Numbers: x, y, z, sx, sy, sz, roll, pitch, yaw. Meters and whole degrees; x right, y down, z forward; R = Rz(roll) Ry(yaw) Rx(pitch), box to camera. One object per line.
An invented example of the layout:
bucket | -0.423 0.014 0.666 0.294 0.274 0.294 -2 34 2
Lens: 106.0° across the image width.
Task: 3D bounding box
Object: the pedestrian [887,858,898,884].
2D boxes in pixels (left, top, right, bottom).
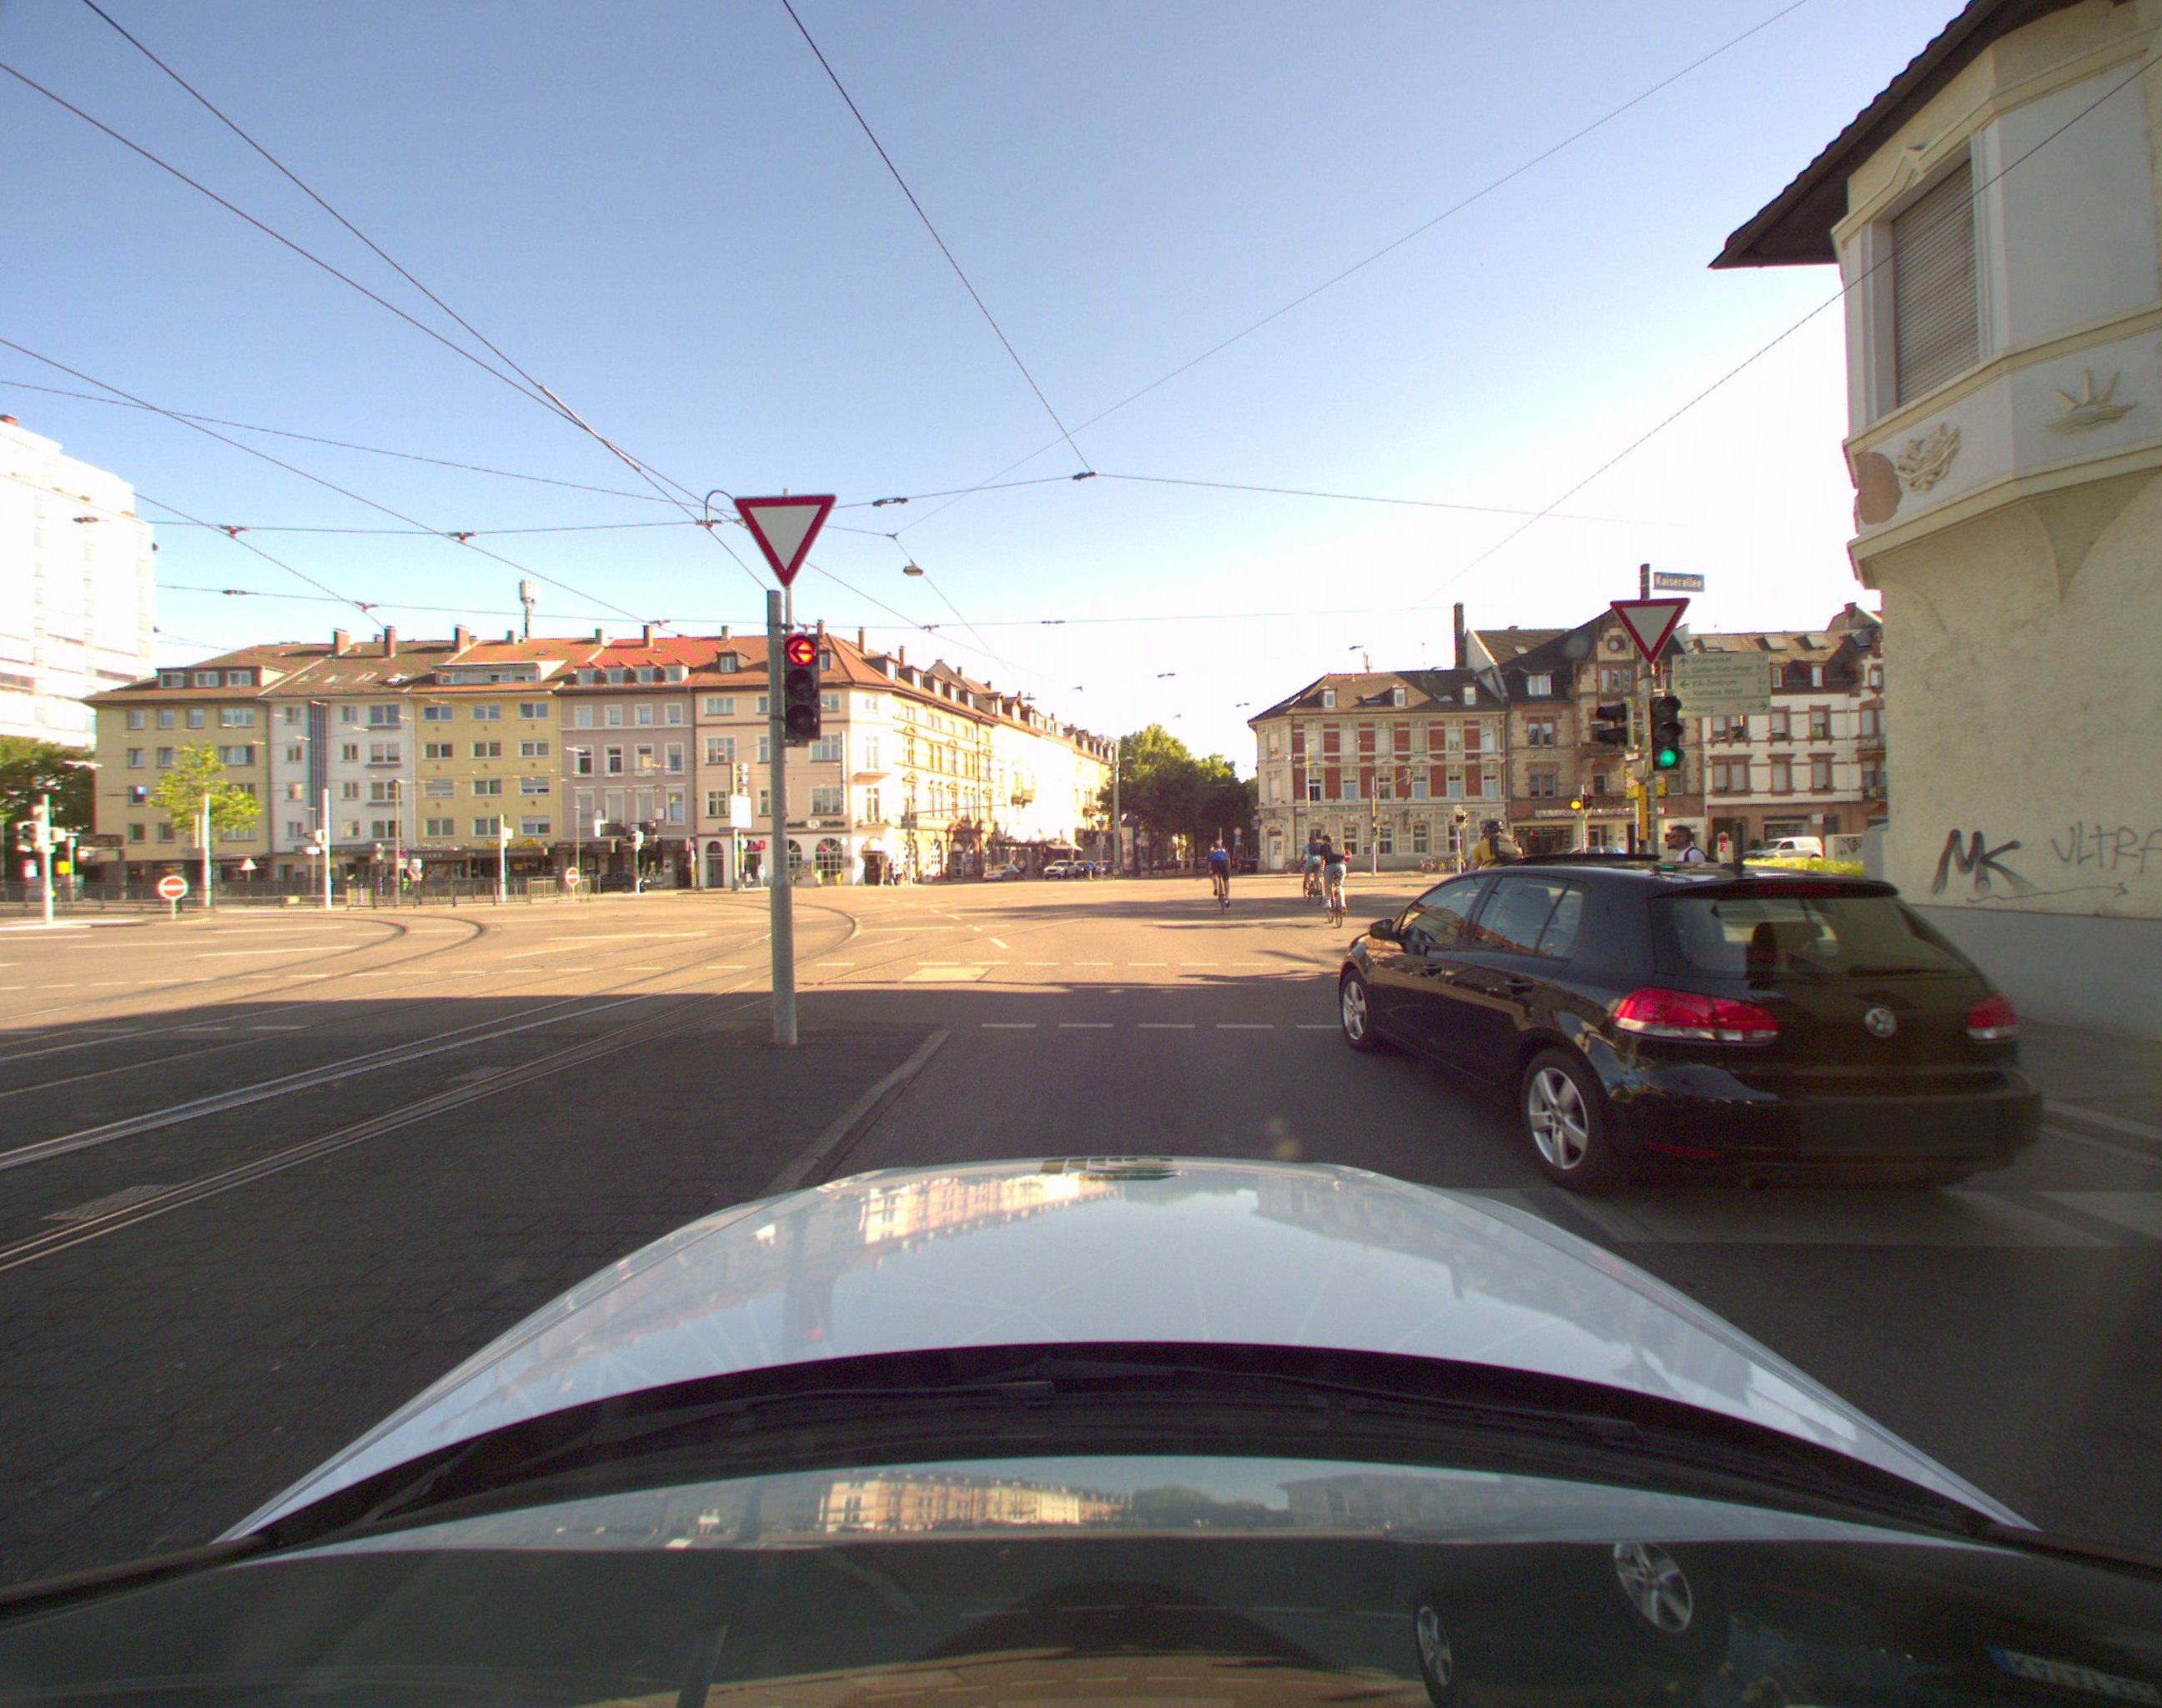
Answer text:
pedestrian | -13.379 1.201 57.856 0.631 1.881 0.465 0 -1 -2

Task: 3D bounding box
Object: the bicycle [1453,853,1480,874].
bicycle | 24.775 0.620 52.392 0.626 1.287 2.663 0 -1 3

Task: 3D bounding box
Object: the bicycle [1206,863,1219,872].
bicycle | 15.993 1.654 98.868 0.630 1.085 1.687 0 -1 -28

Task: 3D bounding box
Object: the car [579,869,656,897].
car | -30.589 1.920 53.819 3.962 1.670 2.006 -2 0 10

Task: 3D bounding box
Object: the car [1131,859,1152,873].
car | 8.396 1.626 112.697 1.977 1.904 4.019 -1 -1 19

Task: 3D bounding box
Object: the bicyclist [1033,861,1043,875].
bicyclist | -3.747 1.184 70.630 0.626 1.185 0.689 -1 -1 23

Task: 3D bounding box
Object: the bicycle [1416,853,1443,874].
bicycle | 22.445 0.618 52.474 0.689 1.287 2.663 0 -1 3

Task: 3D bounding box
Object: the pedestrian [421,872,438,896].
pedestrian | -46.013 2.111 57.529 0.631 1.634 0.700 0 -1 -2

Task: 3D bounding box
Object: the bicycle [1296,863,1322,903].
bicycle | 6.185 0.760 22.118 0.644 1.031 1.778 -1 -1 15

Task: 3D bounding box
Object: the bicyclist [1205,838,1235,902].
bicyclist | 3.324 0.373 19.495 0.635 1.494 0.885 0 1 6

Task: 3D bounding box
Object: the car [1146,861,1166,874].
car | 11.318 1.981 122.606 1.977 1.904 4.019 -1 -1 19

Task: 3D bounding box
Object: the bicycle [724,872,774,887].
bicycle | -23.425 1.792 57.468 3.118 0.980 1.002 0 -1 1

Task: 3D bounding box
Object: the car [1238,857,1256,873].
car | 16.817 1.117 82.367 1.680 1.565 3.855 -1 -1 14

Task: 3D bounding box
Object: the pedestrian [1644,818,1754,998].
pedestrian | 6.410 0.541 8.450 0.589 1.756 0.635 -5 -1 -37

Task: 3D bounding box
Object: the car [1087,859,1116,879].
car | 2.065 1.406 79.923 1.979 1.904 4.015 -1 -1 14

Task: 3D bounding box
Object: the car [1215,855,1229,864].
car | 23.261 0.923 134.286 1.546 1.513 3.673 -1 -1 19

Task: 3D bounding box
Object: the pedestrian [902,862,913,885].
pedestrian | -12.314 1.361 57.710 0.631 1.634 0.700 0 -1 -2

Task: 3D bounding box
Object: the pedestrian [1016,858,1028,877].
pedestrian | -4.760 1.108 65.493 0.814 1.512 0.601 -1 -1 16

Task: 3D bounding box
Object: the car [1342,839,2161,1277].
car | 3.015 0.685 4.884 1.722 1.508 4.053 0 1 2

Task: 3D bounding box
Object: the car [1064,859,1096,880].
car | -0.017 1.373 73.949 1.979 1.904 4.015 -1 -1 14

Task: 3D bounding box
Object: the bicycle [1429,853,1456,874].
bicycle | 23.261 0.624 52.427 0.689 1.287 2.663 0 -1 3

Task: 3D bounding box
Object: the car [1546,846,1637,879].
car | 28.230 0.462 45.142 3.769 1.778 2.000 0 -1 1

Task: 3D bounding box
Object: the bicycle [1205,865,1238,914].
bicycle | 3.325 0.820 19.417 0.623 1.085 1.705 0 -1 5

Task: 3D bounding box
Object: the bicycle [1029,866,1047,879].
bicycle | -3.714 1.609 70.747 0.644 1.123 2.265 -1 -1 23

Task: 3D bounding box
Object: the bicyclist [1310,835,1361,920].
bicyclist | 4.964 0.449 15.917 0.801 1.606 0.885 0 -1 7

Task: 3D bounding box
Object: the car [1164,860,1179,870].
car | 14.637 1.755 131.711 1.546 1.513 3.673 -1 -1 19

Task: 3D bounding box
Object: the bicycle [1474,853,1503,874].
bicycle | 26.198 0.619 52.359 0.626 1.287 2.663 0 -1 3

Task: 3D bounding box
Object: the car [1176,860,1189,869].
car | 16.912 1.764 135.628 1.546 1.513 3.673 -1 -1 19

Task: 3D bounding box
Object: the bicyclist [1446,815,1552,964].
bicyclist | 4.884 0.397 9.573 0.802 1.663 0.884 0 -1 2

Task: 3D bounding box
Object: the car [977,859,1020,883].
car | -6.779 1.371 67.486 1.977 1.904 4.019 -1 -1 19

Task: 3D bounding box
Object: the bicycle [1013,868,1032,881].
bicycle | -4.732 1.637 65.561 0.756 1.008 2.406 -1 -1 16

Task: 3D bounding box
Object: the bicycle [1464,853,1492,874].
bicycle | 25.502 0.618 52.388 0.626 1.287 2.663 0 -1 3

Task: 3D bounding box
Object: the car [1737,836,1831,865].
car | 45.311 -0.229 52.574 4.349 1.778 2.000 0 -1 1

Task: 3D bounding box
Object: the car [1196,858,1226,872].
car | 18.337 1.568 114.729 3.955 1.904 2.009 -1 -1 17

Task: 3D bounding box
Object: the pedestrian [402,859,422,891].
pedestrian | -34.255 1.088 41.692 0.523 1.628 0.577 0 -1 0

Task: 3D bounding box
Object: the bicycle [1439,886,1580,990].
bicycle | 4.869 0.910 9.406 0.752 1.031 1.782 0 -1 3

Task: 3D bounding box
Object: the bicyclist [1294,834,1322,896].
bicyclist | 6.142 0.299 22.041 0.684 1.633 0.887 -1 -1 14

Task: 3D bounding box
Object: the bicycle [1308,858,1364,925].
bicycle | 4.976 0.704 15.974 0.751 1.236 1.706 -1 -1 7

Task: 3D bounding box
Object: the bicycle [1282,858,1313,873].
bicycle | 15.125 0.797 56.892 2.040 0.998 0.631 -1 -1 4

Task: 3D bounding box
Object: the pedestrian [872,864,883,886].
pedestrian | -14.160 1.459 56.714 0.631 1.477 0.465 0 -1 -2

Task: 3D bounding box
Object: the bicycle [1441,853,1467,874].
bicycle | 23.984 0.608 52.420 0.626 1.287 2.663 0 -1 3

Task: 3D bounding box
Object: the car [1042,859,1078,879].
car | -1.670 1.235 67.585 1.979 1.618 4.015 -1 -1 14

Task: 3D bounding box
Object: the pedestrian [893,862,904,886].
pedestrian | -12.637 1.354 56.369 0.631 1.634 0.700 0 -1 -2
